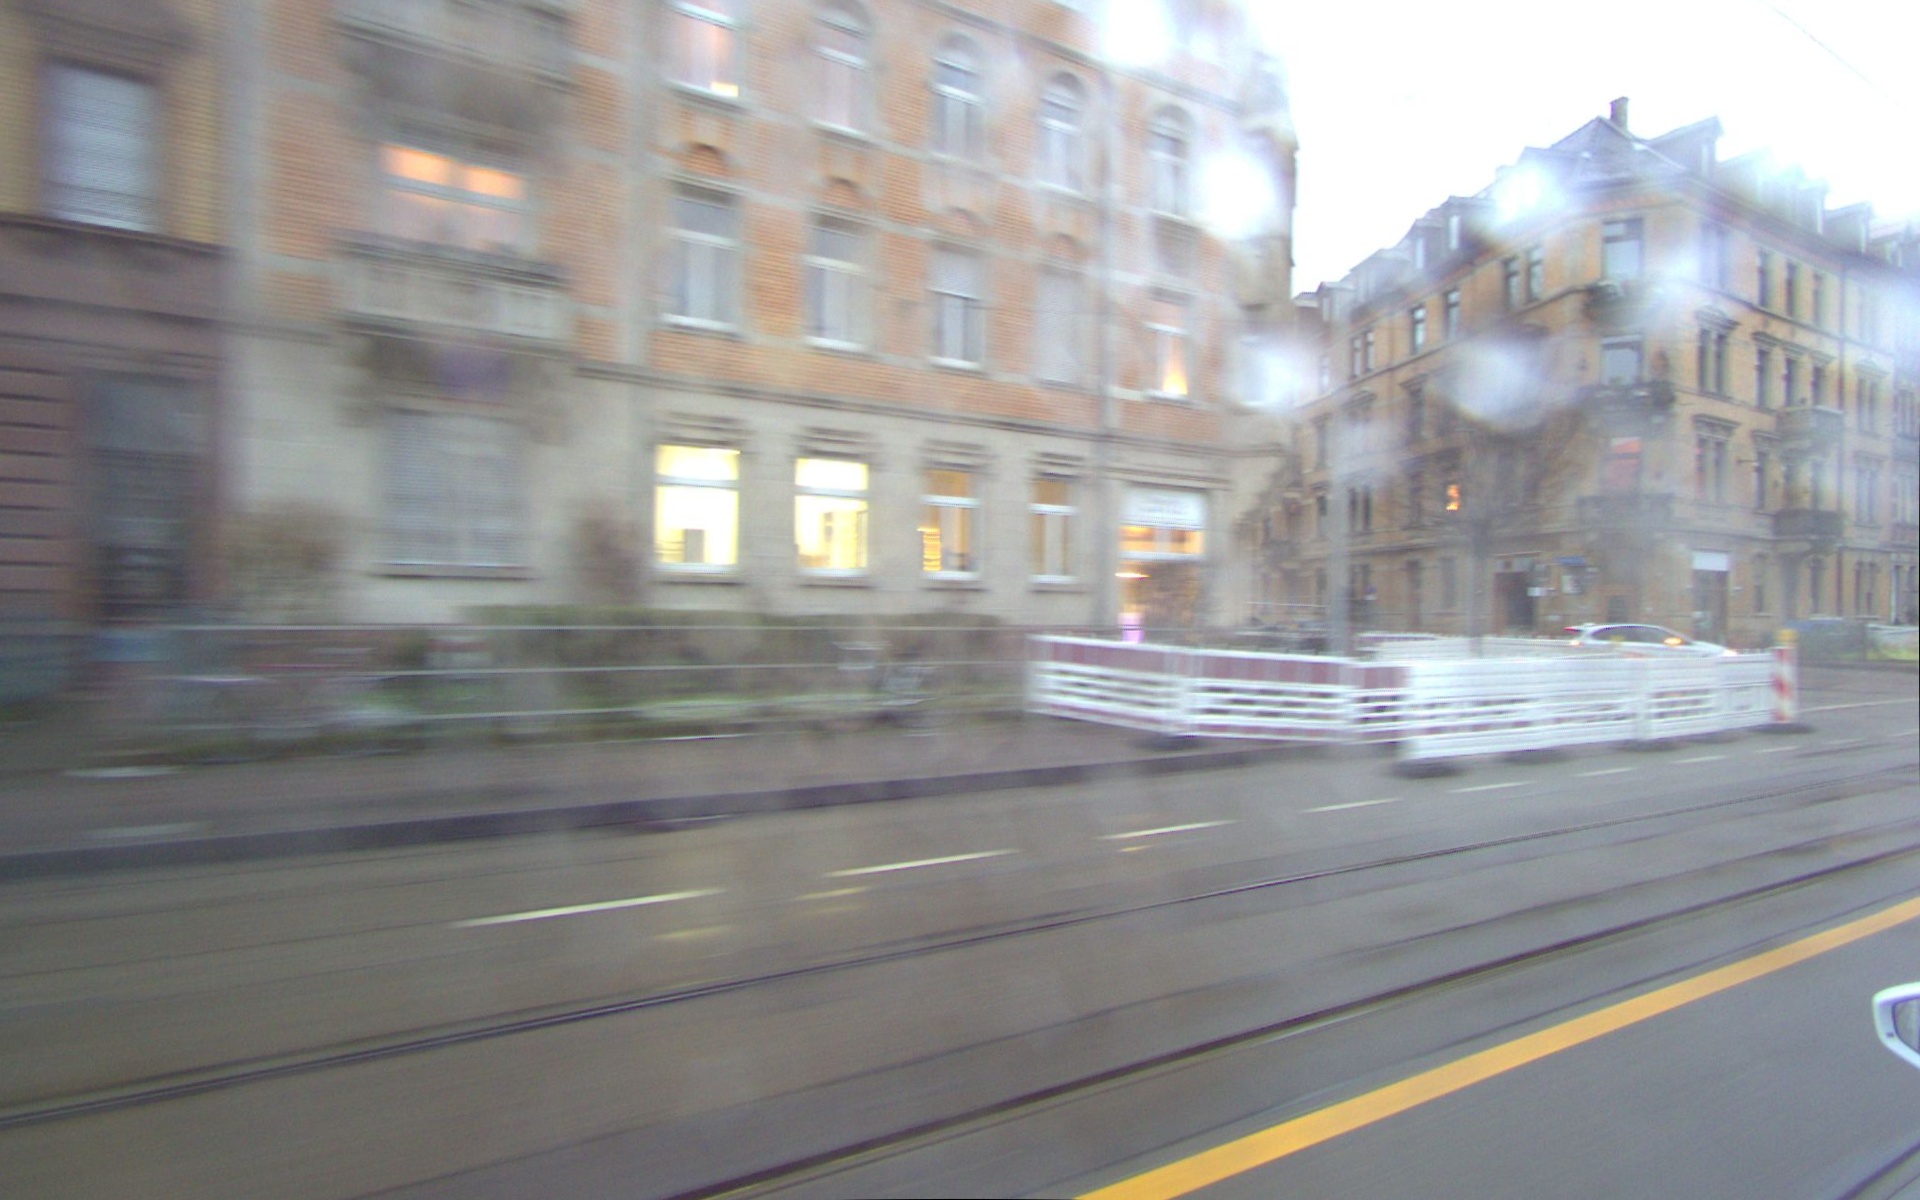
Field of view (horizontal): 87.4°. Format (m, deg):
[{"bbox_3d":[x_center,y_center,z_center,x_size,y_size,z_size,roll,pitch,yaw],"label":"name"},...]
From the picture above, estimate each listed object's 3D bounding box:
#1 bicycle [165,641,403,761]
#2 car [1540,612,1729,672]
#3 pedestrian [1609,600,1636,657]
[{"bbox_3d":[-5.726,0.838,8.605,1.666,0.928,0.262,1,5,-31],"label":"bicycle"},{"bbox_3d":[19.023,1.152,28.559,4.092,1.546,2.000,1,0,22],"label":"car"},{"bbox_3d":[21.394,0.920,32.447,0.708,1.797,0.769,1,0,32],"label":"pedestrian"}]
